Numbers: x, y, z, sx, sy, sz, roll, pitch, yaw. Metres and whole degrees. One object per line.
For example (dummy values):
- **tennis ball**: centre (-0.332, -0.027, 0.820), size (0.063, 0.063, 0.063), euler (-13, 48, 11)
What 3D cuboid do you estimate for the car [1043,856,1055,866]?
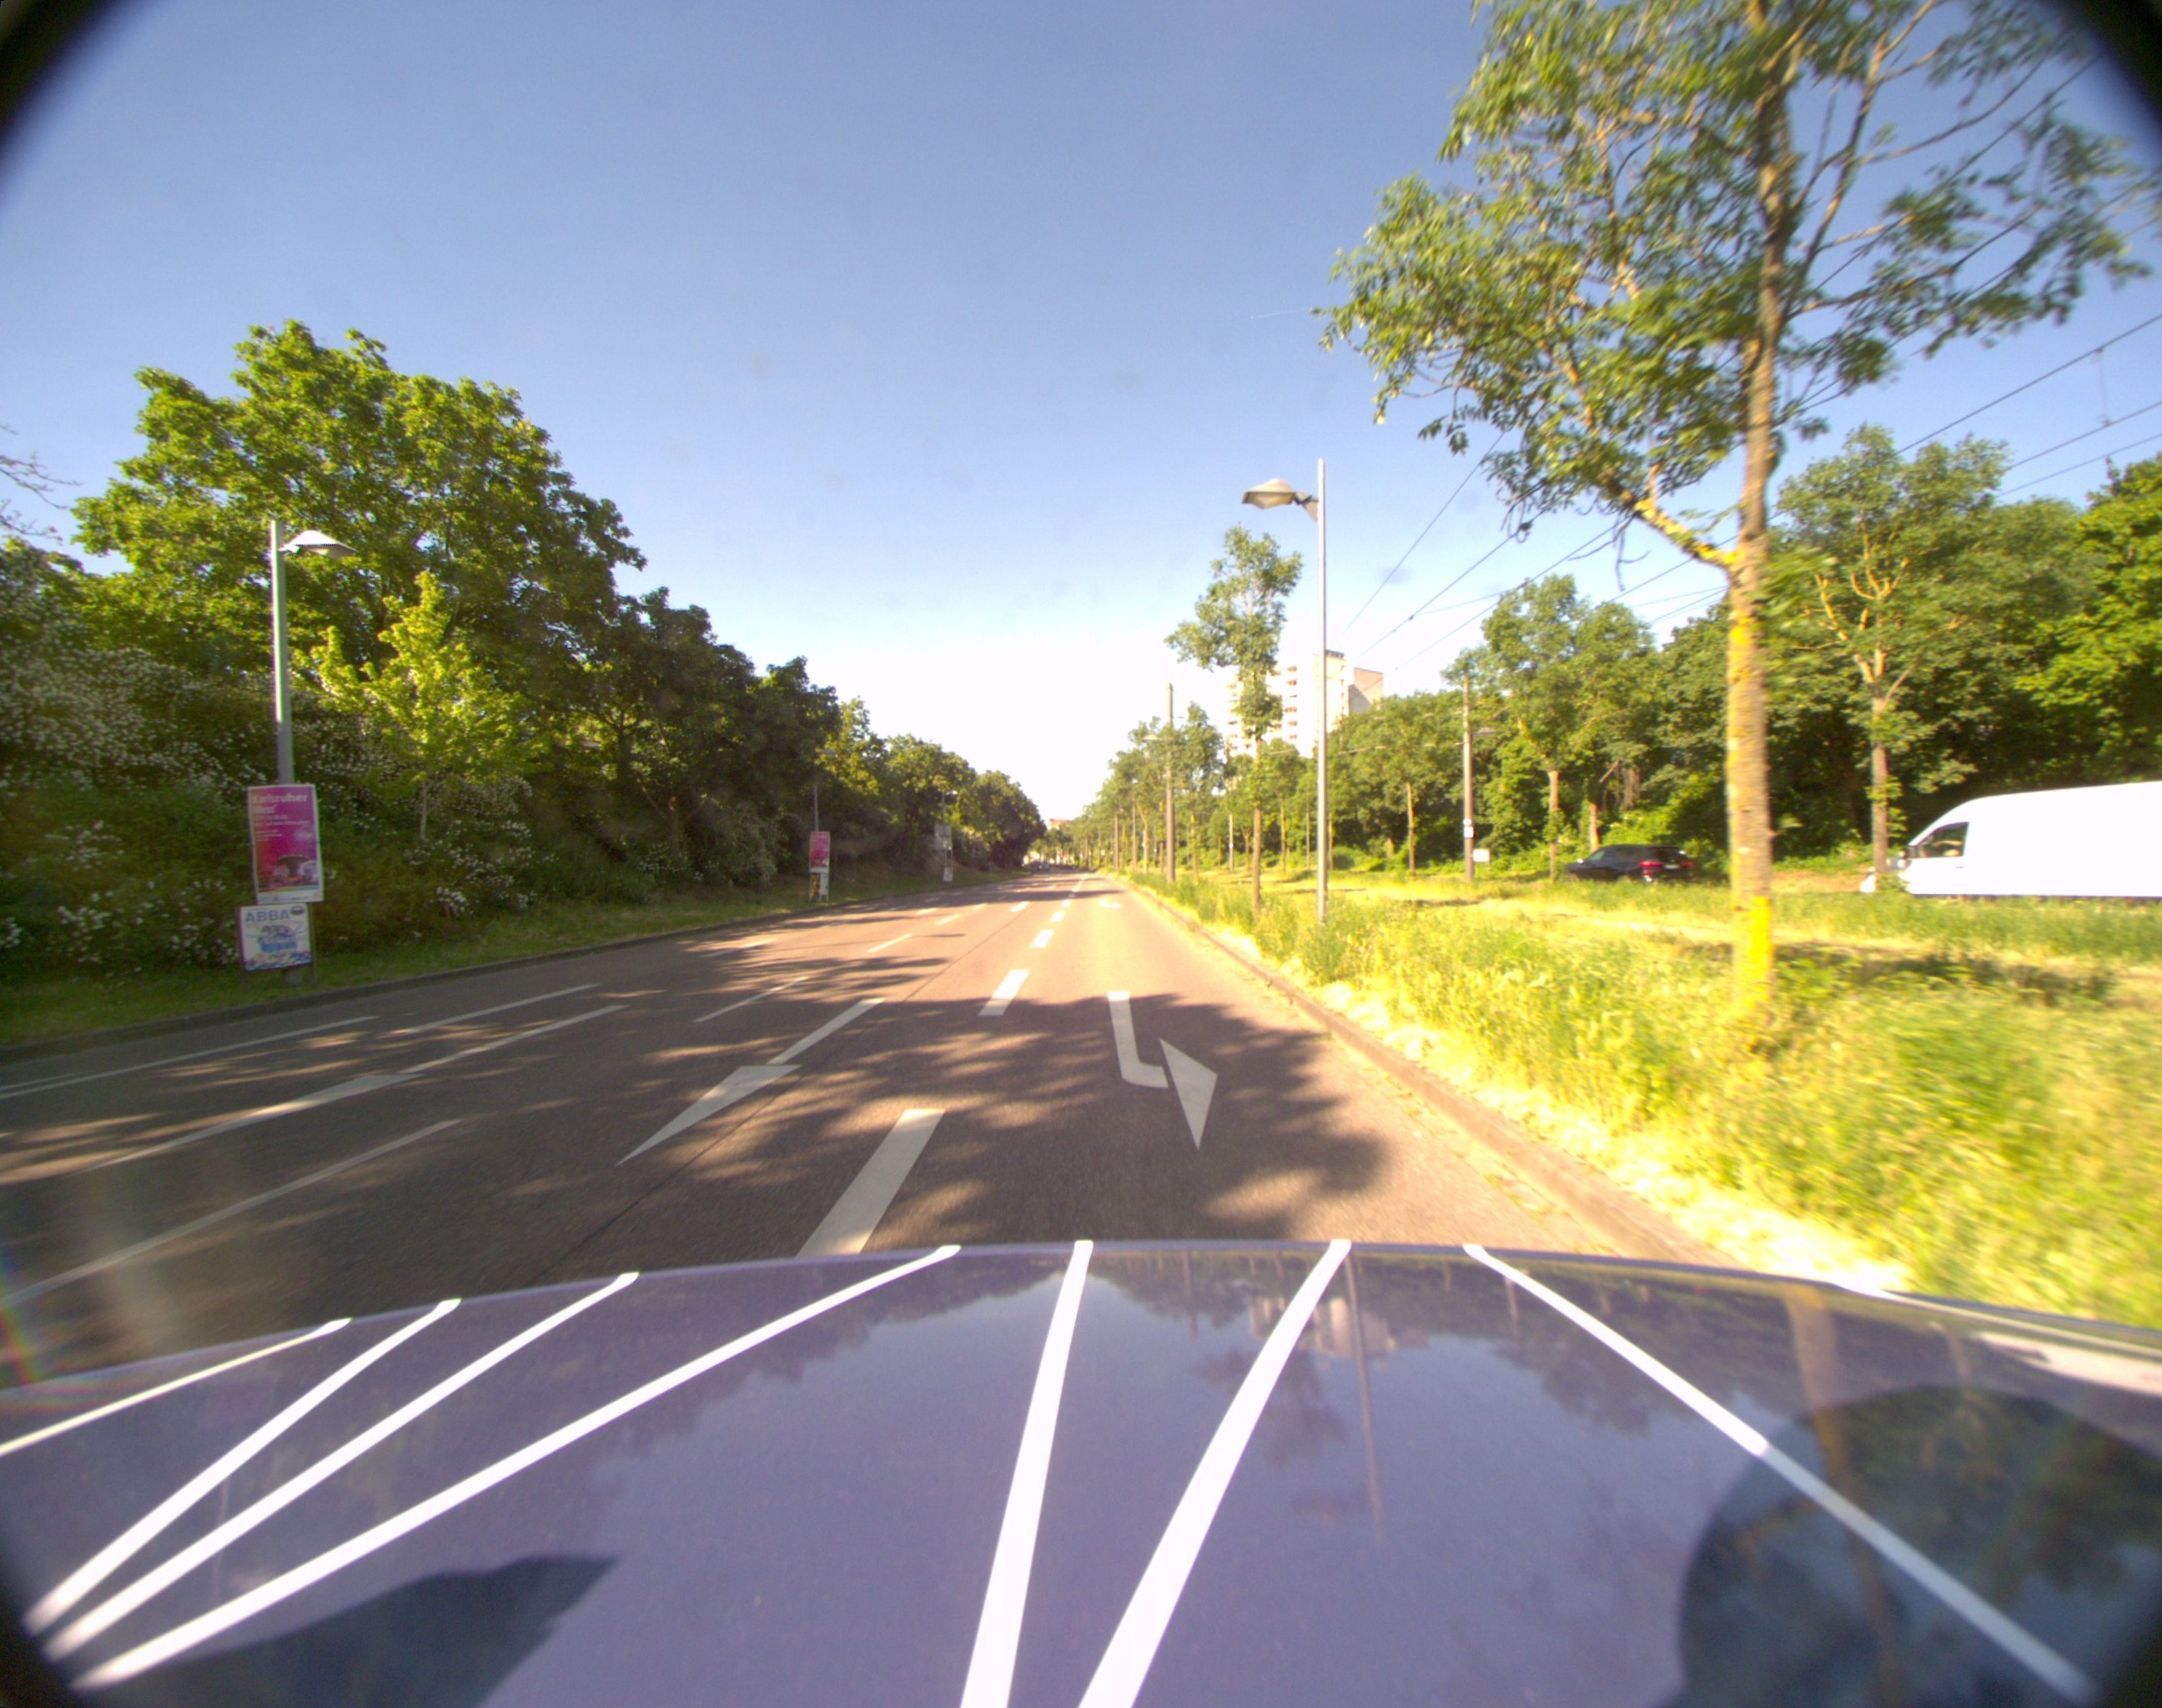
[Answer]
- **car**: centre (-5.349, 1.144, 126.531), size (1.672, 1.531, 4.060), euler (-4, 0, 2)

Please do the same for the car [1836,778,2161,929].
- **car**: centre (17.878, -0.037, 13.507), size (2.045, 2.355, 6.880), euler (-2, 0, 0)

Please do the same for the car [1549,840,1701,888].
- **car**: centre (20.278, 0.338, 28.692), size (1.998, 1.575, 5.273), euler (-2, 0, 1)
